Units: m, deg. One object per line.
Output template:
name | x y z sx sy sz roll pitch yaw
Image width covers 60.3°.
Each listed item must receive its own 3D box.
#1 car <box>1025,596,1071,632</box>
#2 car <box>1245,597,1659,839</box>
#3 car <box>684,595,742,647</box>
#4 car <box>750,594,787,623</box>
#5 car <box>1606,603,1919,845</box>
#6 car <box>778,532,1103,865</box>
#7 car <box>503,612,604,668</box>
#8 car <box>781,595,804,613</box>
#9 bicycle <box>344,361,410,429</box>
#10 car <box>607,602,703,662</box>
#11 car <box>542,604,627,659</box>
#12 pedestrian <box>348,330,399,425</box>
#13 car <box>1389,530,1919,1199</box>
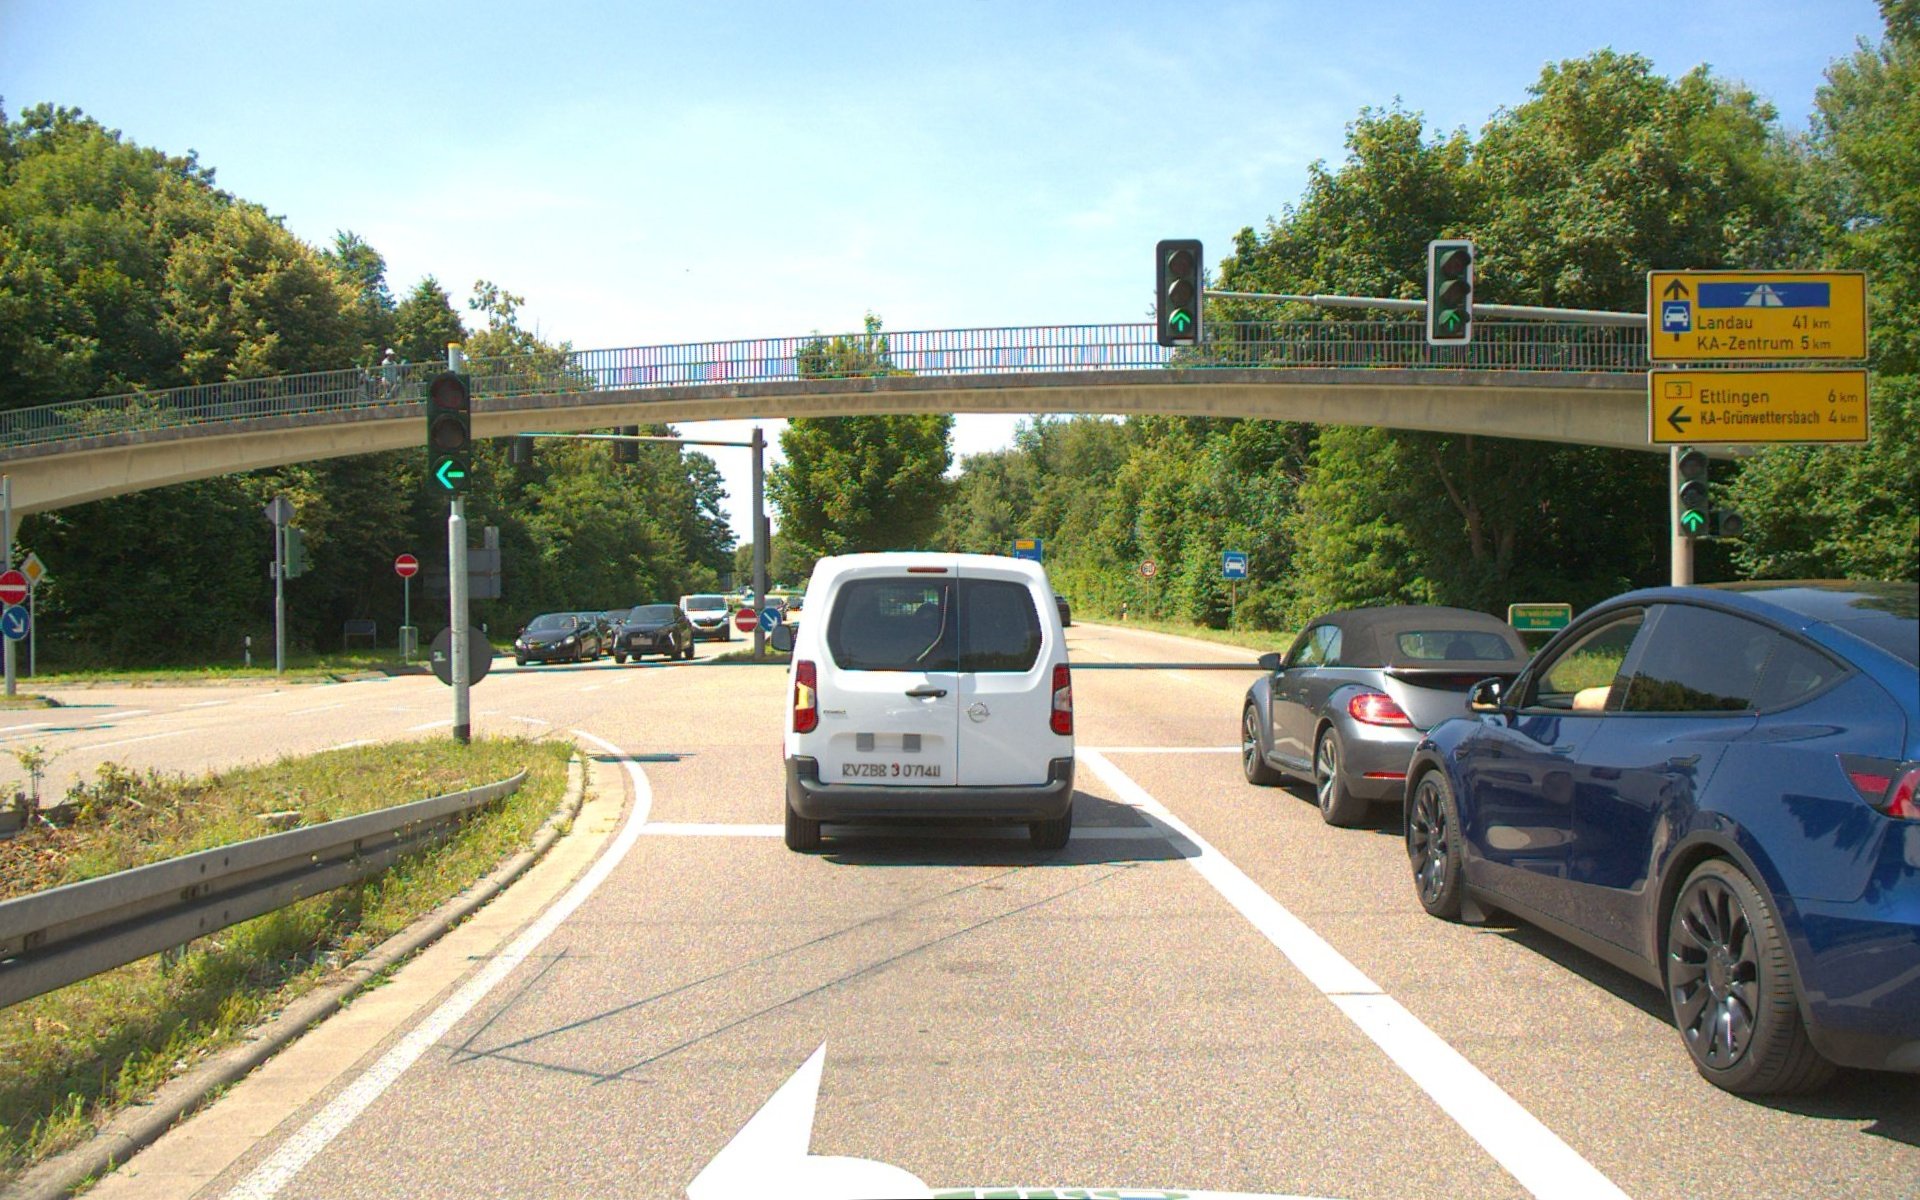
car | 4.473 0.685 84.721 2.000 1.728 5.086 -1 0 0
car | 3.449 0.746 12.419 1.862 1.503 3.938 1 0 -1
car | -10.392 0.885 69.944 2.166 2.028 5.480 -2 0 -7
car | -14.023 0.616 121.280 2.164 2.028 4.732 -2 0 -1
car | 6.771 0.799 12.662 1.862 1.503 4.379 1 0 -1
car | -0.173 0.534 11.315 1.812 1.857 3.980 1 1 -2
car | -11.794 1.132 48.193 1.967 1.486 4.054 -2 0 -1
car | -16.643 0.399 164.468 1.967 1.629 4.054 -2 0 -1
bicycle | -14.381 -5.048 40.773 1.494 1.500 0.470 -3 -2 15
car | -8.388 0.851 45.812 1.953 1.550 4.026 -1 0 -1
car | -12.431 1.010 54.930 1.953 1.694 3.999 -1 0 -1
pedestrian | -14.603 -5.521 41.195 0.765 2.177 0.932 -3 -2 15
car | 3.248 0.669 6.373 1.862 1.673 4.518 1 0 -2
